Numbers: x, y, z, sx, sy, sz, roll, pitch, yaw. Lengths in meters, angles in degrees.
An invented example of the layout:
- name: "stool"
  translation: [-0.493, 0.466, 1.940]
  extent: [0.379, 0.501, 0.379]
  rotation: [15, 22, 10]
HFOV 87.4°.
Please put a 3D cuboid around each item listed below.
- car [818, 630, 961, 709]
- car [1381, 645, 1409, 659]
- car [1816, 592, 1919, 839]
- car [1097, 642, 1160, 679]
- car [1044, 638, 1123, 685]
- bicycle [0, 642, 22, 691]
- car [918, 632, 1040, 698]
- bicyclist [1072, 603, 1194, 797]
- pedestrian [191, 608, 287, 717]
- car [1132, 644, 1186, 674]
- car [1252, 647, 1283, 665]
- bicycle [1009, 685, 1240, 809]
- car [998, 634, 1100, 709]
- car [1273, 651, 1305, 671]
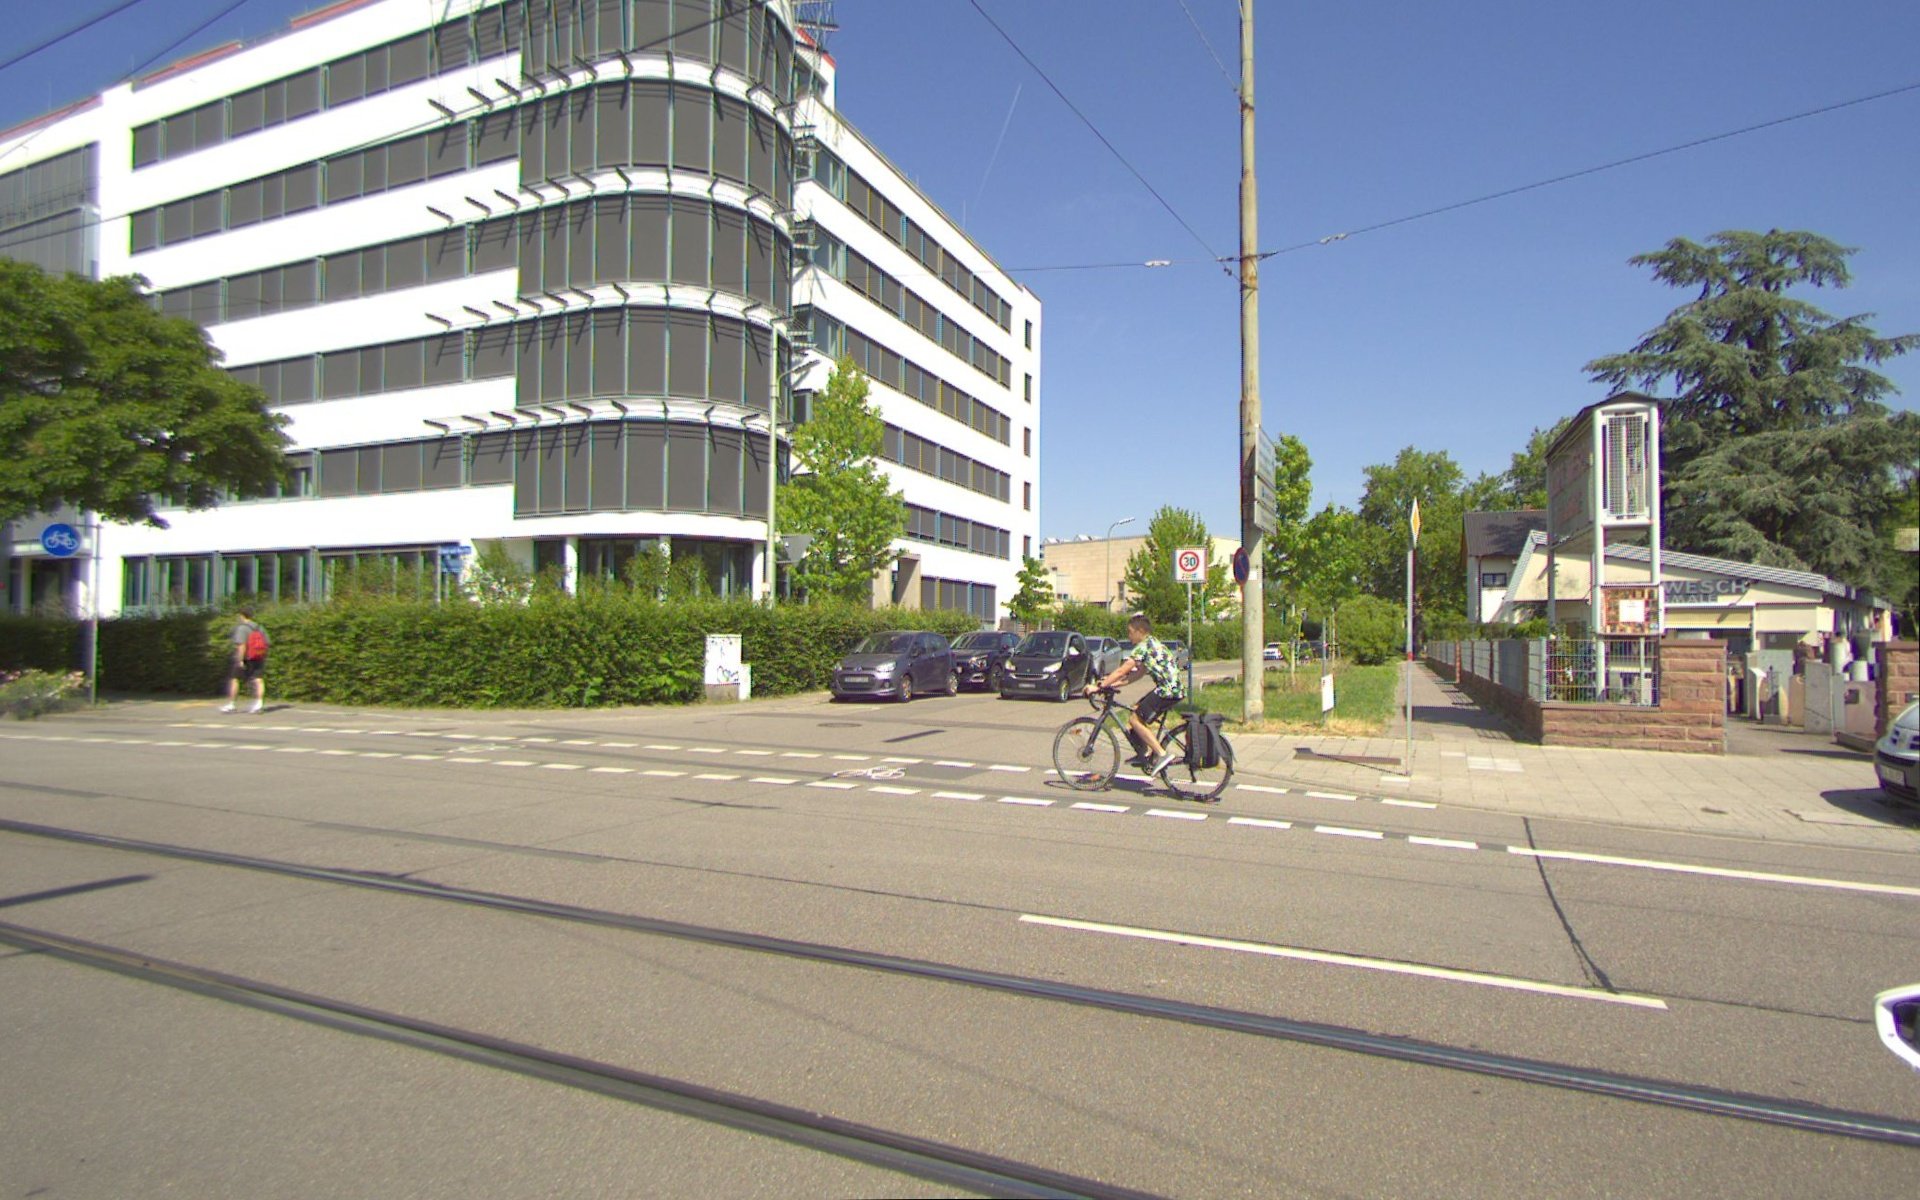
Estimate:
- name: "car"
  translation: [-1.453, 1.473, 22.013]
  extent: [1.672, 1.547, 3.696]
  rotation: [0, -2, 22]
- name: "car"
  translation: [48.364, 5.767, 111.738]
  extent: [1.906, 1.468, 3.812]
  rotation: [-1, -3, 39]
- name: "car"
  translation: [10.479, 0.962, 8.262]
  extent: [4.816, 2.040, 2.089]
  rotation: [-1, -2, 25]
- name: "car"
  translation: [6.914, 2.435, 40.959]
  extent: [1.780, 1.422, 3.828]
  rotation: [0, -3, 22]
- name: "car"
  translation: [4.399, 2.117, 35.408]
  extent: [1.780, 1.525, 4.044]
  rotation: [-1, -2, 22]
- name: "bicycle"
  translation: [-23.296, 1.561, 23.887]
  extent: [2.027, 1.132, 0.638]
  rotation: [-1, -3, 23]
- name: "car"
  translation: [0.586, 1.635, 26.054]
  extent: [1.780, 1.538, 4.169]
  rotation: [0, -3, 22]
- name: "bicyclist"
  translation: [1.663, 0.924, 9.622]
  extent: [0.970, 1.746, 0.717]
  rotation: [-1, -3, 31]
- name: "pedestrian"
  translation: [-12.645, 1.088, 17.639]
  extent: [1.052, 1.841, 0.892]
  rotation: [0, -2, 21]
- name: "car"
  translation: [9.371, 2.749, 47.064]
  extent: [1.780, 1.339, 3.828]
  rotation: [0, -3, 22]
- name: "car"
  translation: [25.718, 4.659, 83.915]
  extent: [1.899, 1.468, 3.825]
  rotation: [-1, -3, 26]
- name: "bicycle"
  translation: [1.557, 1.364, 9.681]
  extent: [2.126, 0.996, 0.609]
  rotation: [-1, -2, 31]
- name: "car"
  translation: [2.074, 1.561, 22.767]
  extent: [1.451, 1.559, 2.975]
  rotation: [-1, -2, 23]
- name: "car"
  translation: [24.925, 4.604, 76.013]
  extent: [1.899, 1.468, 3.826]
  rotation: [0, -3, 24]
